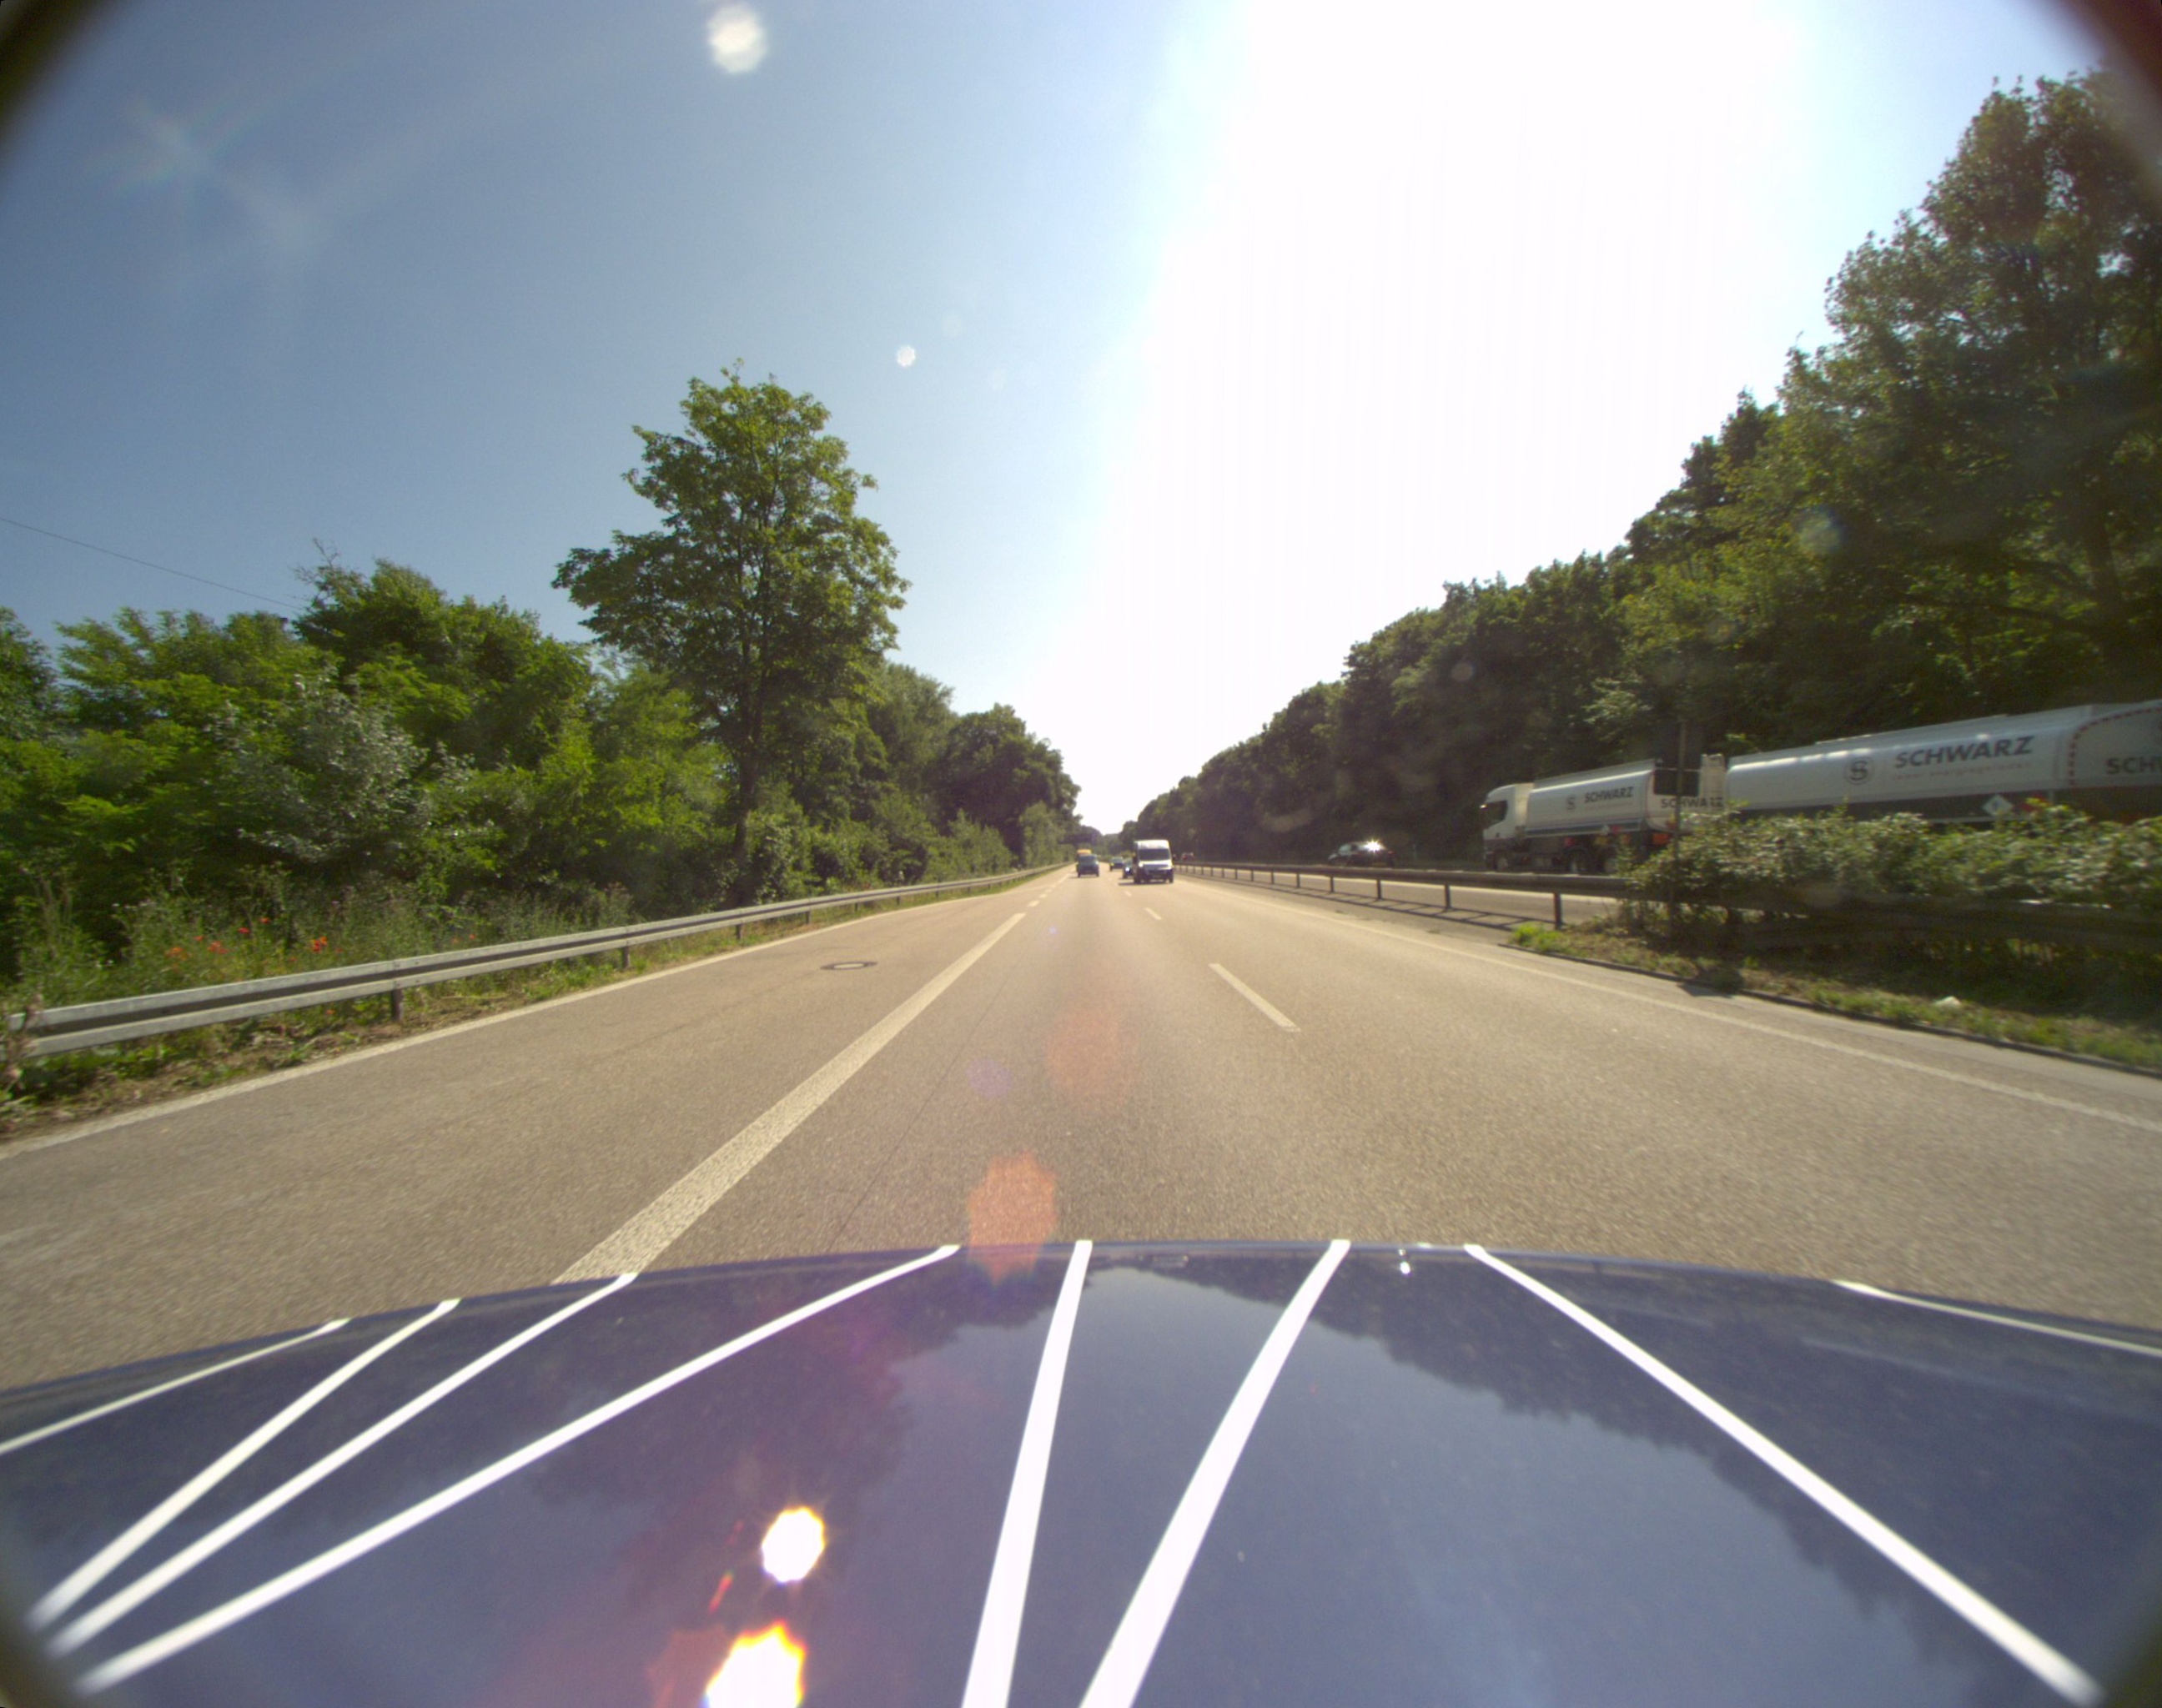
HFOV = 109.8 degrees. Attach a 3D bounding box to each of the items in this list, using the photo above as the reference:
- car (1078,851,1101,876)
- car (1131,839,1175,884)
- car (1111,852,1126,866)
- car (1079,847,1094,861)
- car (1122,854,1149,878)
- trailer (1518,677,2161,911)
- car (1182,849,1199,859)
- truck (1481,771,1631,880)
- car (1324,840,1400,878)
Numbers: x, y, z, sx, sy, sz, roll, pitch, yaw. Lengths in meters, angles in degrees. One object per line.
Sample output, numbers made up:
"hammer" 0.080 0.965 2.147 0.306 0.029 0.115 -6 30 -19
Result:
"car" 0.683 0.785 64.818 1.812 1.921 4.581 -3 0 0
"car" 4.101 0.404 44.254 2.046 2.429 4.637 -2 0 0
"car" 4.431 0.583 90.168 1.517 1.624 3.611 -2 0 1
"car" 0.671 -0.048 93.630 1.737 1.624 3.899 -2 0 1
"car" 3.938 0.873 55.392 1.666 1.624 3.644 -2 0 1
"trailer" 15.580 -0.892 17.791 2.499 3.216 14.431 -2 0 1
"car" 16.931 -0.041 117.245 1.847 1.501 4.550 -3 0 -1
"truck" 15.680 -0.891 25.396 2.431 3.239 4.000 -2 0 1
"car" 12.163 0.187 33.155 1.727 1.471 4.244 -3 0 0
